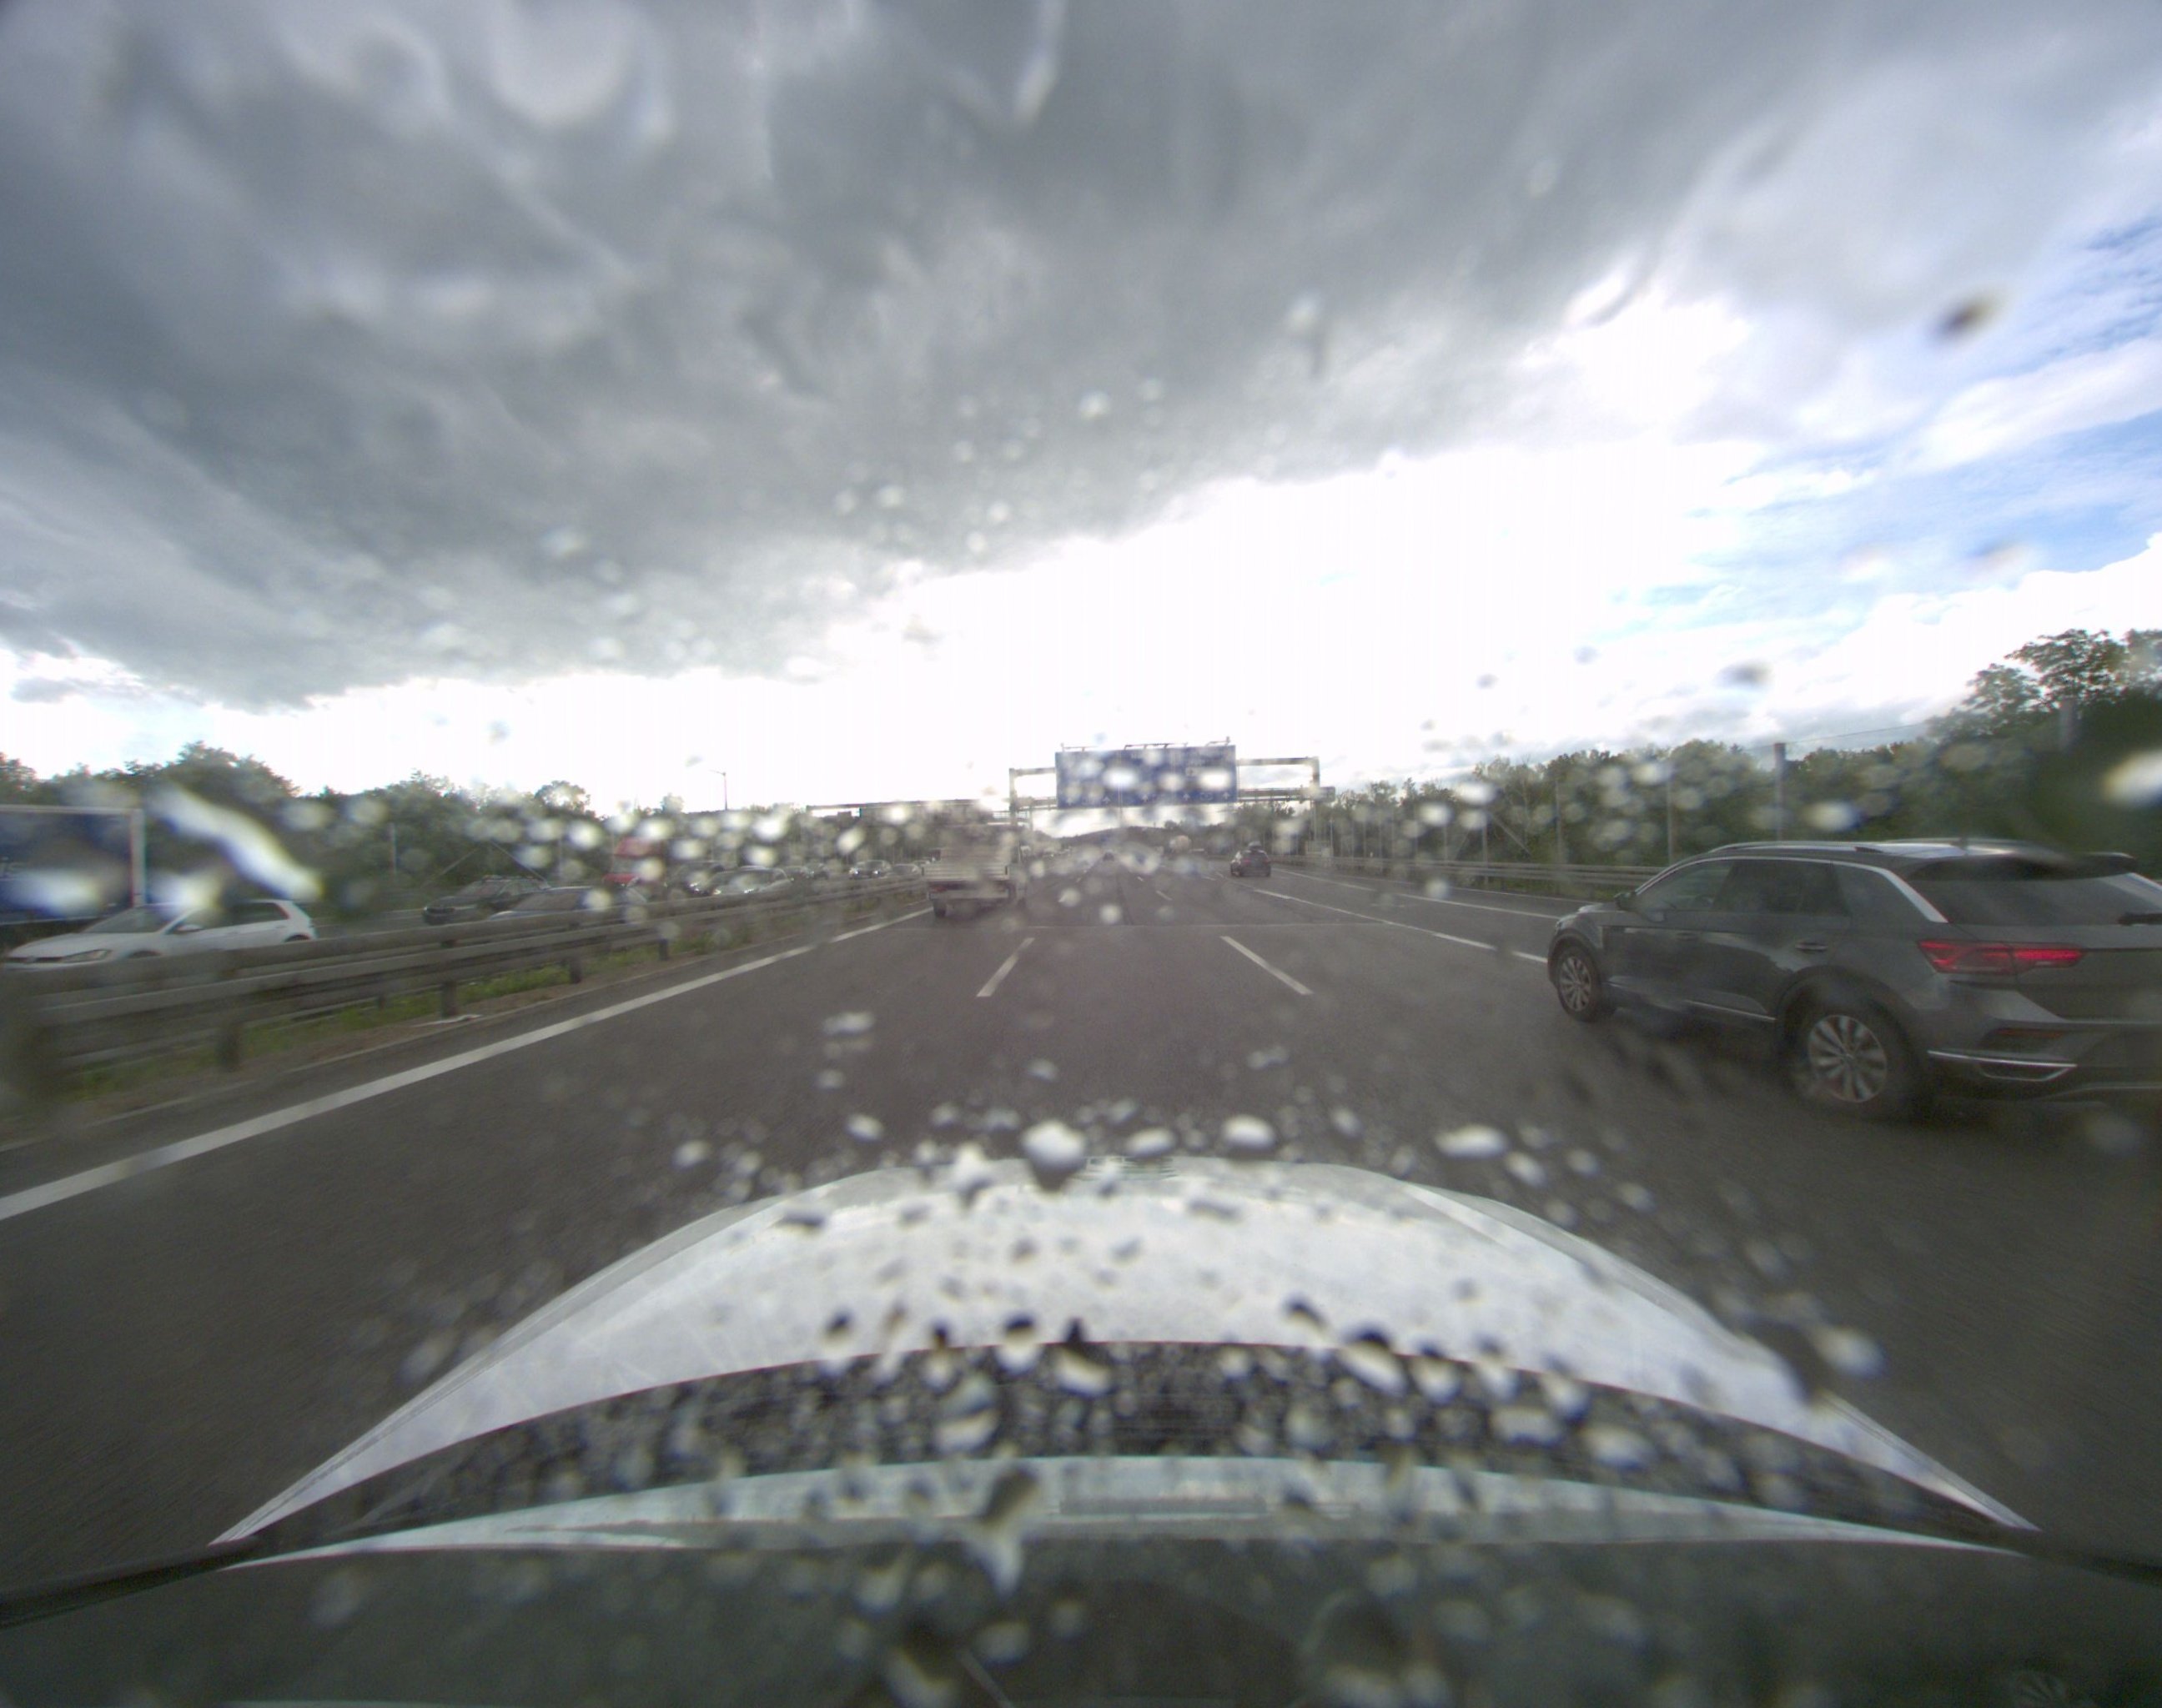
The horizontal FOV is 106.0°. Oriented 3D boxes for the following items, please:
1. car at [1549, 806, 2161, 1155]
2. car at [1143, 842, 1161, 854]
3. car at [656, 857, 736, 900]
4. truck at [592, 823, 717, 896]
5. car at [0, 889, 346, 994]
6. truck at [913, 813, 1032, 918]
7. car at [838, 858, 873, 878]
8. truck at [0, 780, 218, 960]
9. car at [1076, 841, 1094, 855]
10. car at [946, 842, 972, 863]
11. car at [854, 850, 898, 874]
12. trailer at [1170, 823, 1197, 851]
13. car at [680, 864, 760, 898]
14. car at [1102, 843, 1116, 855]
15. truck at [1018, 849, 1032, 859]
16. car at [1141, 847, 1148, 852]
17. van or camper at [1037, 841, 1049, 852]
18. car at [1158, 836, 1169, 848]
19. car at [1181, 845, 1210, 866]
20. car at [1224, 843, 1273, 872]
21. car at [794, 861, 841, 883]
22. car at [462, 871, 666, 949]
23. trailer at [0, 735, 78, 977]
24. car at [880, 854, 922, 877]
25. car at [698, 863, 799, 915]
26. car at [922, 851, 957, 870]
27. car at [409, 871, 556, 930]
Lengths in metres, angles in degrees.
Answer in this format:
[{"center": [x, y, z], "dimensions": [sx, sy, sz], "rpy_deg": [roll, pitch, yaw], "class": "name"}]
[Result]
[{"center": [5.068, 0.542, 5.512], "dimensions": [1.785, 1.562, 3.724], "rpy_deg": [-1, 1, 2], "class": "car"}, {"center": [9.848, -0.844, 113.160], "dimensions": [2.092, 1.699, 3.998], "rpy_deg": [-1, 1, -1], "class": "car"}, {"center": [-19.345, 1.173, 41.146], "dimensions": [1.577, 1.890, 4.822], "rpy_deg": [-2, 1, 1], "class": "car"}, {"center": [-22.868, 0.189, 44.242], "dimensions": [2.455, 3.536, 7.810], "rpy_deg": [-2, 1, 1], "class": "truck"}, {"center": [-16.721, 1.500, 15.255], "dimensions": [1.639, 1.407, 4.545], "rpy_deg": [-1, 1, 2], "class": "car"}, {"center": [-2.730, 0.205, 22.548], "dimensions": [2.346, 2.408, 7.356], "rpy_deg": [-1, 1, -1], "class": "truck"}, {"center": [-19.446, 1.193, 70.394], "dimensions": [1.615, 1.447, 4.418], "rpy_deg": [-2, 1, 1], "class": "car"}, {"center": [-24.573, 0.418, 16.198], "dimensions": [2.887, 3.840, 10.762], "rpy_deg": [-2, 1, 2], "class": "truck"}, {"center": [0.476, -0.779, 100.458], "dimensions": [2.037, 1.699, 4.002], "rpy_deg": [-1, 1, 2], "class": "car"}, {"center": [-15.071, -0.237, 100.931], "dimensions": [2.195, 2.488, 6.067], "rpy_deg": [-2, 1, 1], "class": "car"}, {"center": [-15.259, 0.571, 60.961], "dimensions": [1.875, 1.598, 5.137], "rpy_deg": [-2, 1, 1], "class": "car"}, {"center": [16.311, -2.668, 130.455], "dimensions": [3.320, 4.175, 11.845], "rpy_deg": [-1, 1, 2], "class": "trailer"}, {"center": [-16.485, 1.191, 37.404], "dimensions": [1.697, 1.289, 4.188], "rpy_deg": [-2, 1, 1], "class": "car"}, {"center": [4.433, -0.792, 128.375], "dimensions": [2.037, 1.699, 4.002], "rpy_deg": [-1, 1, 2], "class": "car"}, {"center": [-9.673, -0.012, 141.241], "dimensions": [1.986, 1.739, 4.673], "rpy_deg": [-1, 1, 2], "class": "truck"}, {"center": [19.766, -1.450, 255.255], "dimensions": [2.037, 1.699, 4.003], "rpy_deg": [-1, 1, 3], "class": "car"}, {"center": [-7.870, -1.499, 167.771], "dimensions": [2.087, 2.186, 4.974], "rpy_deg": [-1, 1, 2], "class": "van or camper"}, {"center": [17.601, -2.483, 173.691], "dimensions": [2.037, 2.497, 4.002], "rpy_deg": [-1, 1, 2], "class": "car"}, {"center": [10.113, 0.094, 72.263], "dimensions": [2.038, 1.699, 5.009], "rpy_deg": [-1, 1, 1], "class": "car"}, {"center": [9.786, 0.191, 47.952], "dimensions": [2.096, 1.605, 5.070], "rpy_deg": [-1, 0, 3], "class": "car"}, {"center": [-18.218, 1.191, 56.510], "dimensions": [1.577, 1.282, 4.604], "rpy_deg": [-2, 1, 1], "class": "car"}, {"center": [-11.951, 1.213, 19.283], "dimensions": [1.639, 1.440, 4.732], "rpy_deg": [-1, 1, 2], "class": "car"}, {"center": [-20.377, 0.194, 9.104], "dimensions": [3.175, 4.193, 11.960], "rpy_deg": [-2, 1, 1], "class": "trailer"}, {"center": [-11.565, 0.735, 52.632], "dimensions": [1.697, 1.289, 4.188], "rpy_deg": [-2, 1, 1], "class": "car"}, {"center": [-12.863, 1.304, 31.880], "dimensions": [1.866, 1.647, 4.723], "rpy_deg": [-2, 1, 1], "class": "car"}, {"center": [-11.493, 0.520, 66.635], "dimensions": [1.883, 1.340, 4.947], "rpy_deg": [-2, 1, 1], "class": "car"}, {"center": [-19.642, 1.466, 26.971], "dimensions": [1.639, 1.564, 4.107], "rpy_deg": [-2, 1, 2], "class": "car"}]
